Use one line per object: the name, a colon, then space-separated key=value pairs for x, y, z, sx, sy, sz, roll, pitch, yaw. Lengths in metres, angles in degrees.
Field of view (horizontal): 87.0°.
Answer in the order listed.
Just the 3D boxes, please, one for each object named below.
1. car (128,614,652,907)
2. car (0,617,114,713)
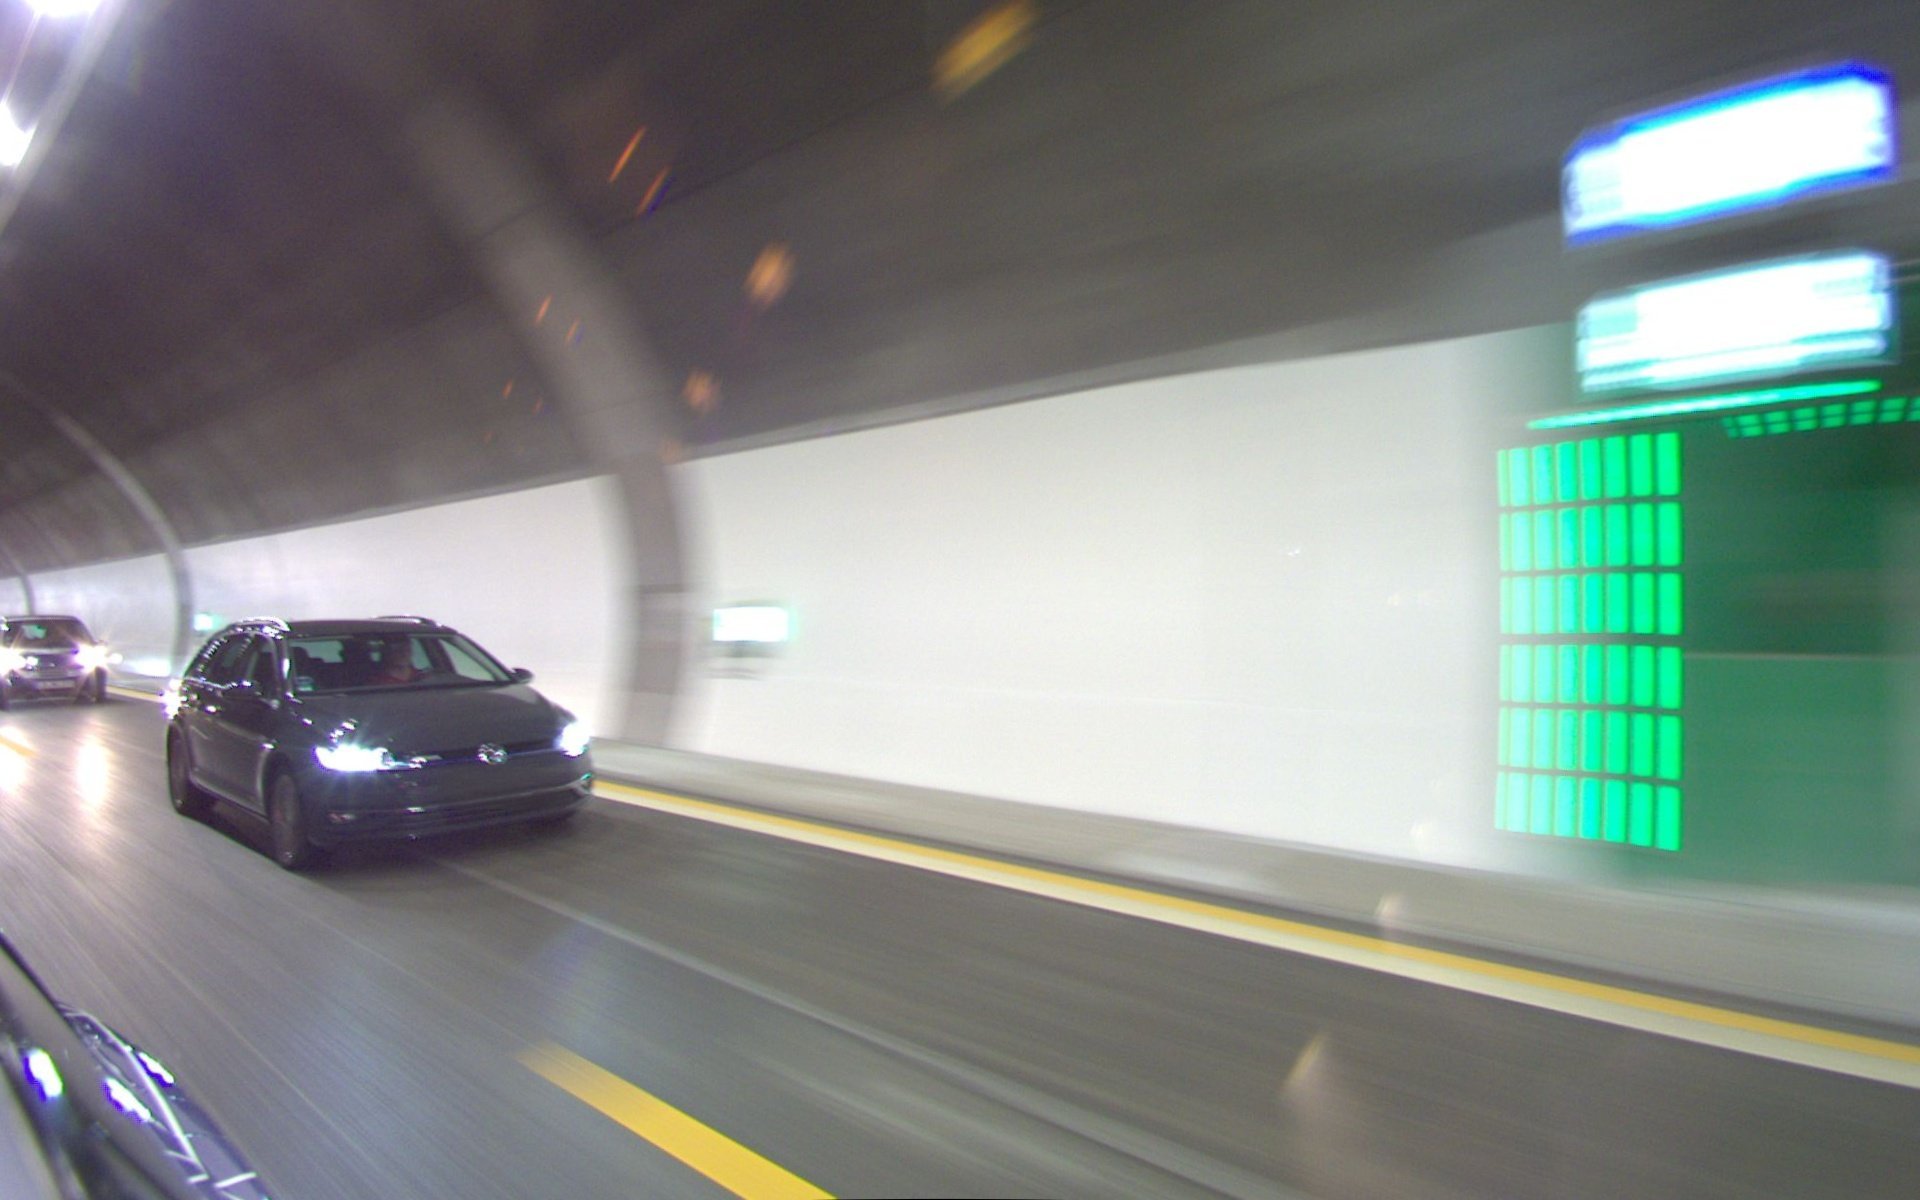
car: x=-4.386 y=0.862 z=7.364 sx=4.879 sy=1.449 sz=1.760 roll=-1 pitch=-1 yaw=40
car: x=-15.968 y=1.073 z=17.594 sx=2.649 sy=1.528 sz=1.512 roll=-1 pitch=-1 yaw=40
